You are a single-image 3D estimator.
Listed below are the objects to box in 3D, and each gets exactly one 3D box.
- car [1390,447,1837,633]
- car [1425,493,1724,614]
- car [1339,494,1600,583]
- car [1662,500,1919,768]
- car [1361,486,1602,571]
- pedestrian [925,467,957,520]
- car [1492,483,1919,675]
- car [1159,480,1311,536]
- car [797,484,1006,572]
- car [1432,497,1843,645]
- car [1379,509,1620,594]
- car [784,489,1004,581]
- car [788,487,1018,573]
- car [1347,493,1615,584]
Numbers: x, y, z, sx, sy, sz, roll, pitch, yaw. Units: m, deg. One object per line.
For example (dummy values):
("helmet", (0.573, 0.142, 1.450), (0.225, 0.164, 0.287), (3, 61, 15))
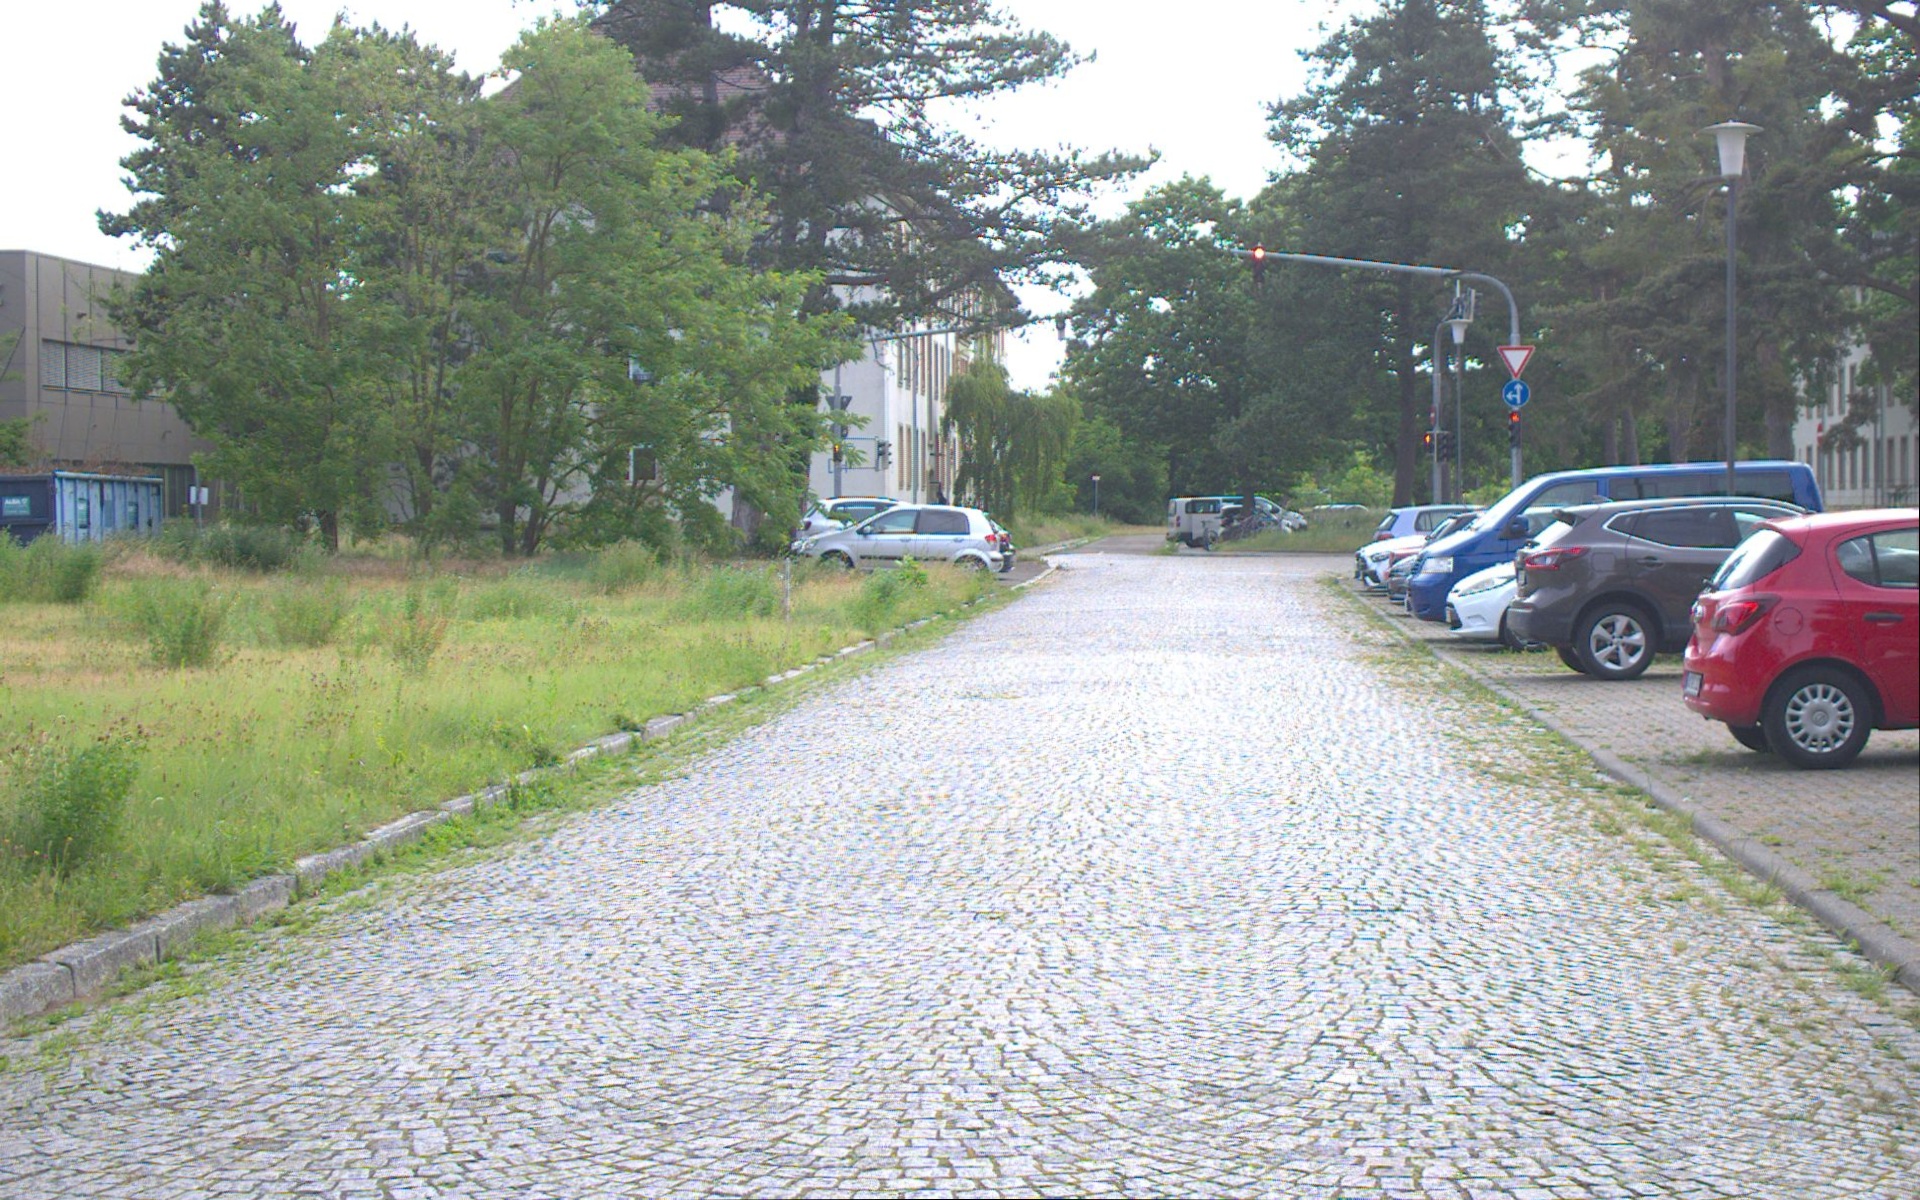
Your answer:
("car", (7.441, -0.706, 39.517), (4.796, 1.997, 1.966), (-1, 2, 3))
("car", (7.960, -0.623, 44.805), (3.654, 1.473, 1.765), (-1, 2, 4))
("car", (8.965, -1.097, 60.637), (4.228, 1.474, 1.710), (-1, 2, -6))
("car", (6.284, 0.153, 20.359), (3.923, 1.491, 1.785), (-1, 2, 3))
("car", (9.553, -1.318, 63.145), (4.135, 1.458, 1.634), (-1, 2, -1))
("pedestrian", (-0.718, -3.975, 128.761), (1.074, 1.952, 1.121), (1, 2, 4))
("car", (6.977, -0.211, 30.635), (4.203, 1.589, 1.953), (-1, 2, 2))
("car", (10.403, -3.494, 130.178), (5.375, 2.094, 2.179), (0, 2, -8))
("car", (-1.044, -1.336, 63.070), (3.721, 1.475, 1.673), (2, 2, 2))
("car", (7.235, -0.326, 36.991), (4.098, 1.473, 1.722), (-1, 2, 2))
("car", (8.313, -0.752, 53.201), (3.587, 1.218, 1.628), (-1, 2, 6))
("car", (-1.312, -1.308, 68.514), (4.298, 1.726, 1.653), (-1, 2, -1))
("car", (-1.087, -1.350, 65.679), (4.297, 1.548, 1.812), (-1, 2, -1))
("car", (8.744, -1.049, 57.879), (4.185, 1.432, 1.755), (-1, 2, -3))
